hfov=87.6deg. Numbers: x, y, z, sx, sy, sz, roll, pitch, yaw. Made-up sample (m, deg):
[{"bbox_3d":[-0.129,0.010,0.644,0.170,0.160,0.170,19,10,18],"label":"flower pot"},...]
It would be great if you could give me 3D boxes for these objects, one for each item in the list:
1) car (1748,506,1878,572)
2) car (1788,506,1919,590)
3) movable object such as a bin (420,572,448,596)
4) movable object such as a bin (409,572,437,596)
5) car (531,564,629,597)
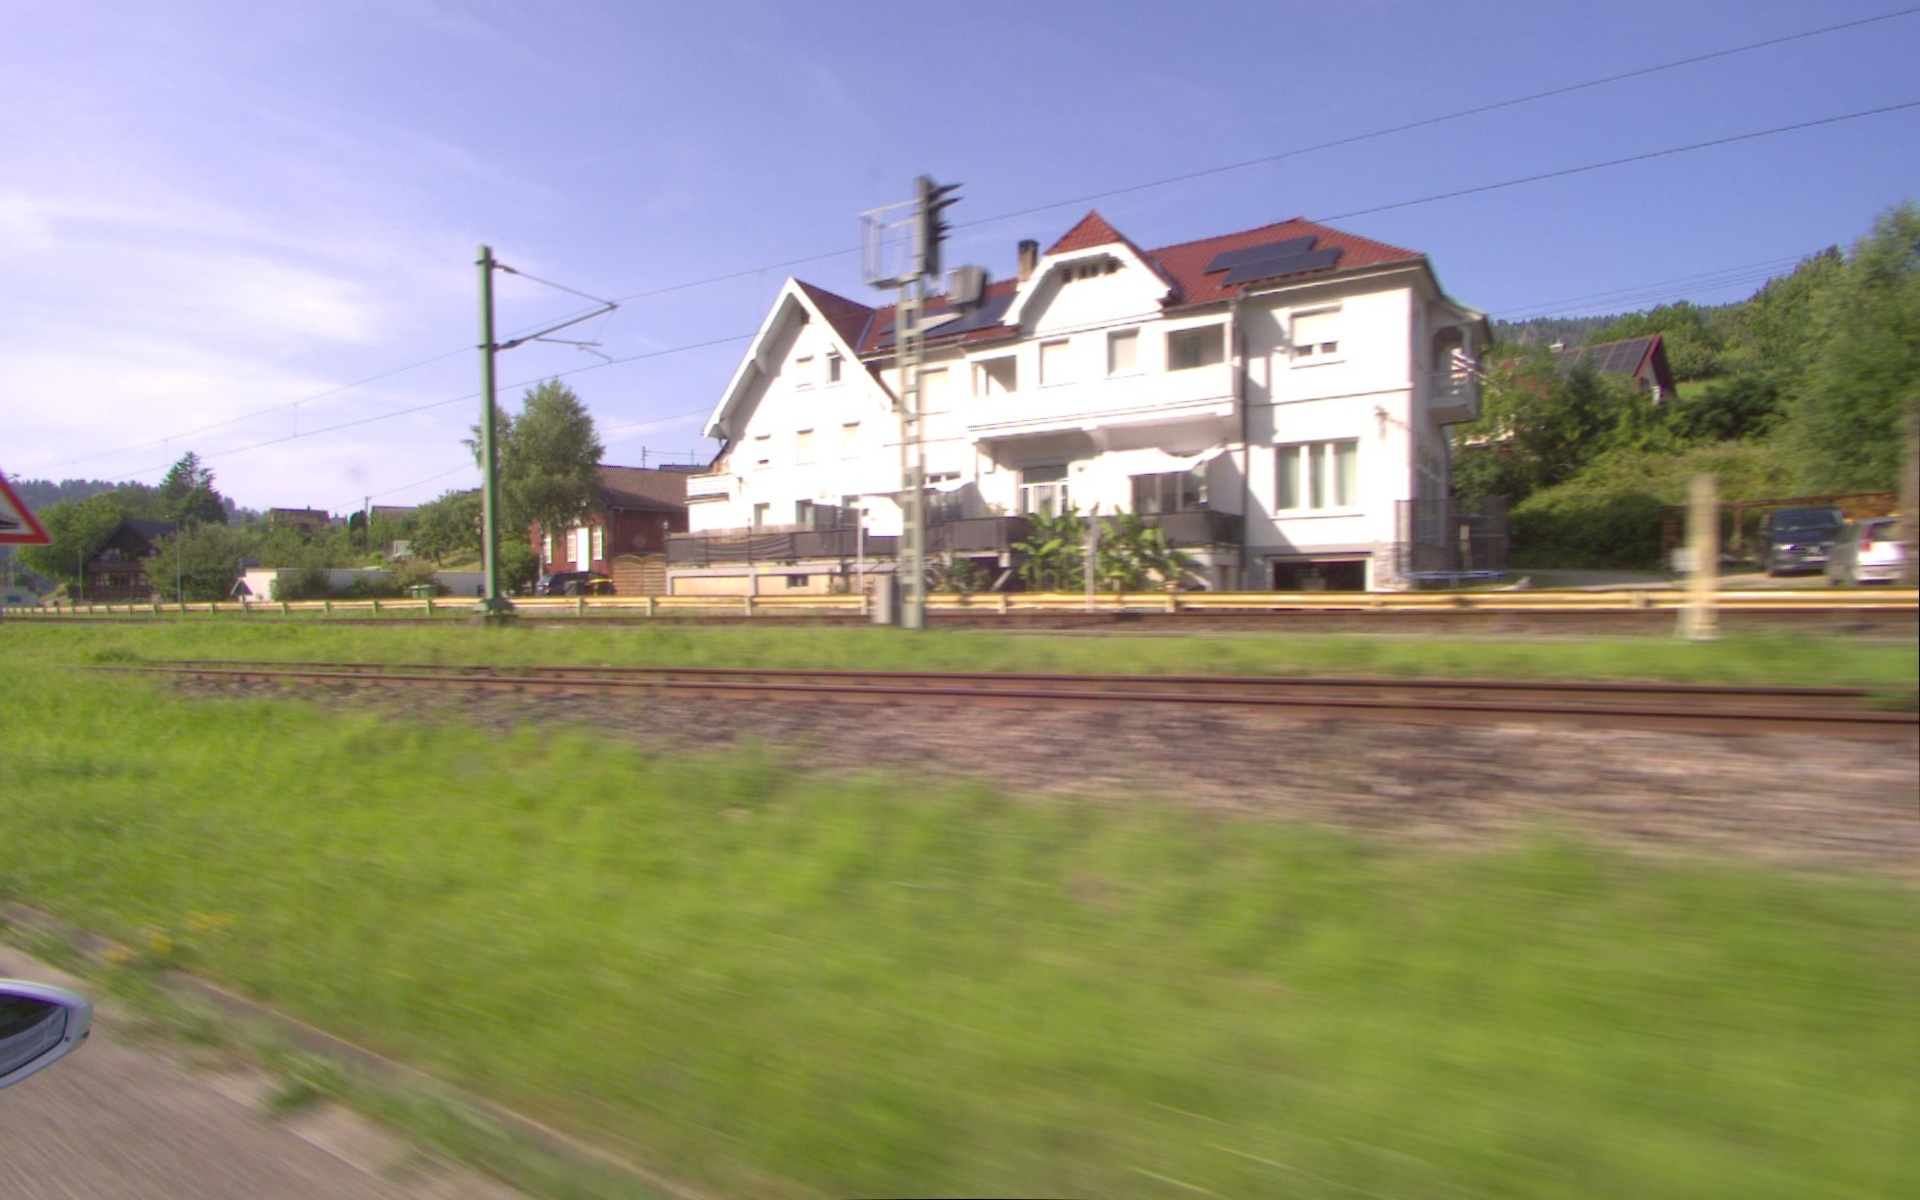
[{"bbox_3d":[24.016,-1.664,28.364,1.969,1.707,3.981,1,2,29],"label":"car"},{"bbox_3d":[18.637,-1.038,20.383,1.969,1.551,3.981,1,2,29],"label":"car"},{"bbox_3d":[-24.026,-0.729,45.725,0.900,1.064,0.805,1,0,38],"label":"movable object such as a bin"},{"bbox_3d":[-24.835,-0.722,46.316,0.900,1.064,0.805,1,0,38],"label":"movable object such as a bin"},{"bbox_3d":[-18.082,-0.940,47.791,1.803,1.395,3.967,0,3,40],"label":"car"}]
